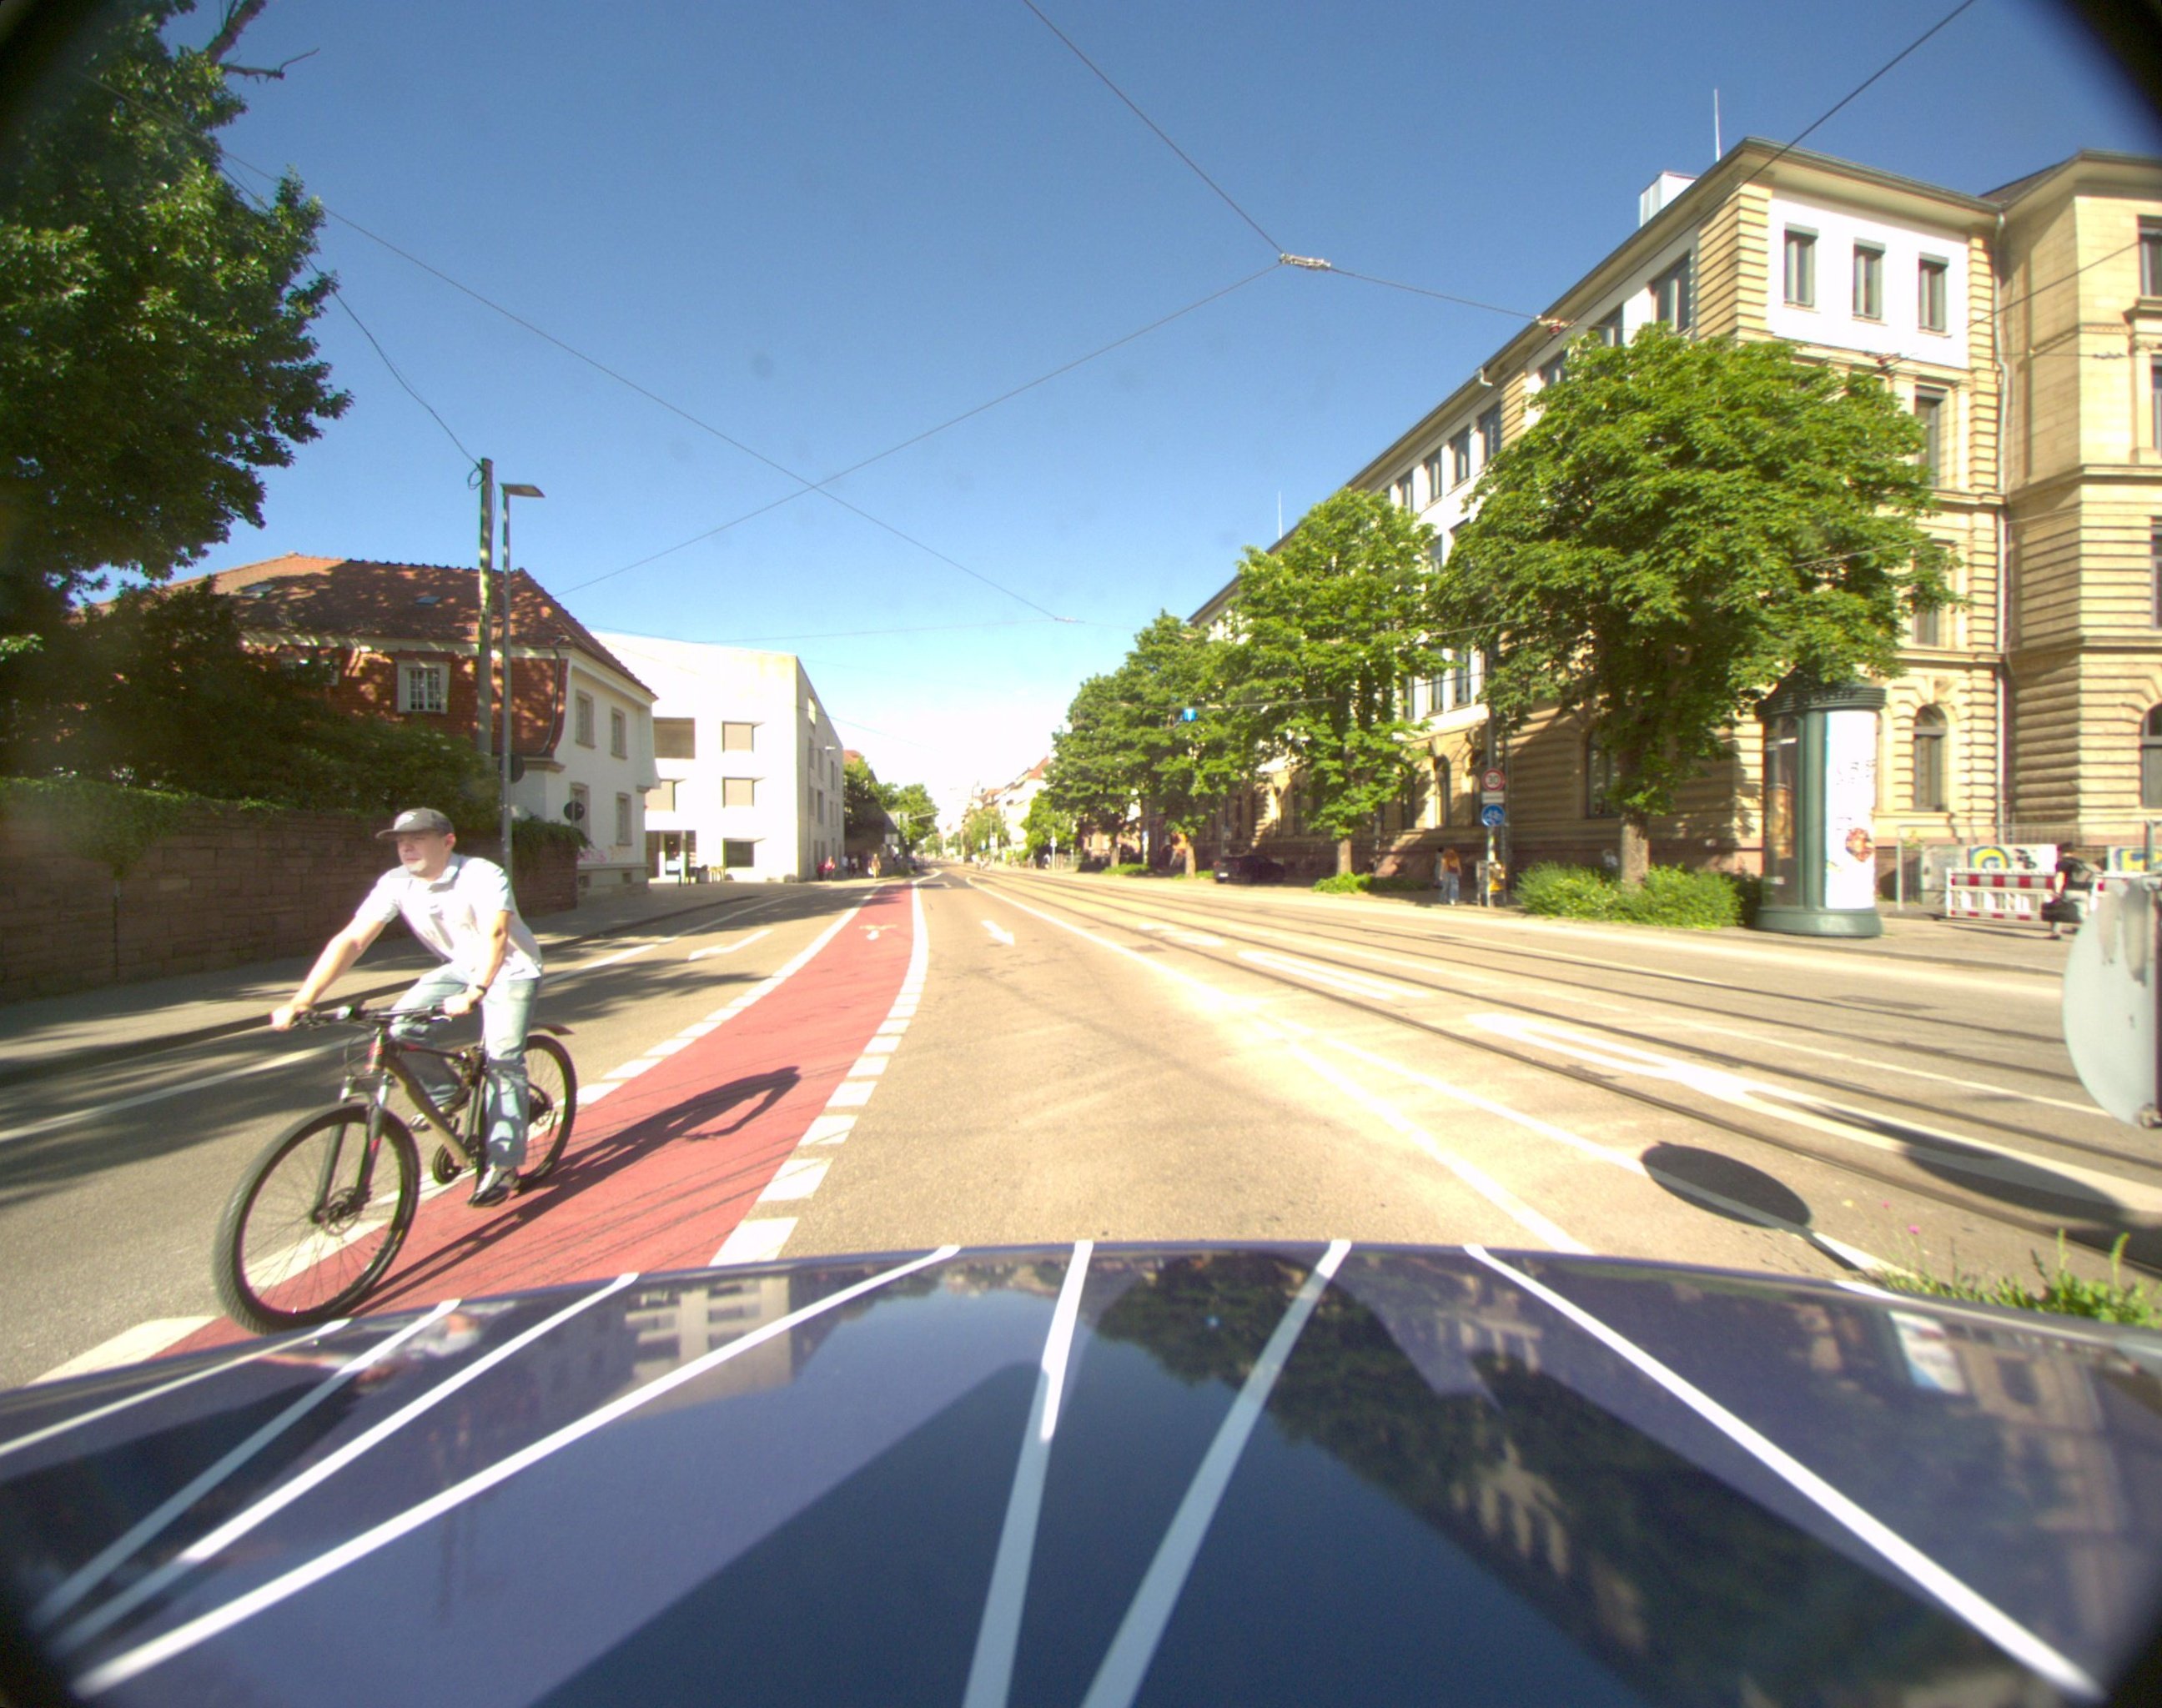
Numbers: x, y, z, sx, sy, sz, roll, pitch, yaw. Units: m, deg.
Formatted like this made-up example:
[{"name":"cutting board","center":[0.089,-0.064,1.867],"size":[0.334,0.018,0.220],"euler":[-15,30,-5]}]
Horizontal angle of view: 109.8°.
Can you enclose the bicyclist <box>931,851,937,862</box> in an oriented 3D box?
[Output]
[{"name":"bicyclist","center":[-19.865,0.374,102.900],"size":[0.665,1.453,0.622],"euler":[-2,2,-8]}]

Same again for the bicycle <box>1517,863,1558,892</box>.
[{"name":"bicycle","center":[15.359,0.778,25.609],"size":[0.398,0.898,1.359],"euler":[-2,2,-10]}]

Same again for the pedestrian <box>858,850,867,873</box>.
[{"name":"pedestrian","center":[-16.757,0.573,58.365],"size":[0.588,1.795,0.545],"euler":[-1,1,-13]}]

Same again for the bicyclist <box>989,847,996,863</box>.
[{"name":"bicyclist","center":[-13.422,0.152,115.161],"size":[1.004,2.255,1.019],"euler":[-2,2,-9]}]

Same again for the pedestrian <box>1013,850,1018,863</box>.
[{"name":"pedestrian","center":[-9.007,0.353,104.476],"size":[0.579,1.845,0.684],"euler":[0,1,-11]}]

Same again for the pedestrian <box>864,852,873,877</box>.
[{"name":"pedestrian","center":[-15.278,0.733,54.540],"size":[0.588,1.795,0.519],"euler":[-1,1,-13]}]

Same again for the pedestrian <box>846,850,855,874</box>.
[{"name":"pedestrian","center":[-17.607,0.600,58.090],"size":[0.588,1.795,0.545],"euler":[-1,1,-13]}]

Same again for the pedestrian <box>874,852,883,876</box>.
[{"name":"pedestrian","center":[-14.591,0.707,54.801],"size":[0.588,1.717,0.519],"euler":[-1,1,-13]}]

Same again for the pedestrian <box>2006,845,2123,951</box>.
[{"name":"pedestrian","center":[16.167,0.701,12.520],"size":[0.729,1.660,0.846],"euler":[0,3,-1]}]

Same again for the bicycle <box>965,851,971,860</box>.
[{"name":"bicycle","center":[-23.377,0.351,157.785],"size":[1.004,1.672,2.981],"euler":[-2,2,-11]}]

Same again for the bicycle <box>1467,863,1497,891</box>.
[{"name":"bicycle","center":[14.430,0.804,27.344],"size":[0.343,0.951,1.101],"euler":[-2,2,-10]}]

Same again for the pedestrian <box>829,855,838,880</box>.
[{"name":"pedestrian","center":[-15.900,0.848,48.824],"size":[0.535,1.557,0.519],"euler":[-1,1,-13]}]

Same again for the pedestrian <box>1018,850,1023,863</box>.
[{"name":"pedestrian","center":[-8.360,0.330,104.646],"size":[0.579,1.845,0.684],"euler":[0,1,-11]}]

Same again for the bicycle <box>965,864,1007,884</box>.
[{"name":"bicycle","center":[-9.369,1.989,74.920],"size":[3.888,1.876,1.004],"euler":[-1,2,10]}]

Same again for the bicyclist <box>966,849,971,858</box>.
[{"name":"bicyclist","center":[-23.392,-0.085,157.764],"size":[1.004,1.712,0.983],"euler":[-2,2,-12]}]

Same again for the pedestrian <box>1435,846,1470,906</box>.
[{"name":"pedestrian","center":[10.611,0.650,21.709],"size":[0.770,1.658,1.036],"euler":[-1,-4,20]}]

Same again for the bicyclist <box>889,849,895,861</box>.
[{"name":"bicyclist","center":[-34.753,0.215,139.590],"size":[0.813,2.194,0.983],"euler":[-2,2,-10]}]

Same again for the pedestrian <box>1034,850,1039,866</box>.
[{"name":"pedestrian","center":[-5.440,0.485,92.899],"size":[0.579,1.845,0.653],"euler":[0,1,-11]}]

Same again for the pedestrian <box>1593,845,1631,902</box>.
[{"name":"pedestrian","center":[14.847,0.540,21.259],"size":[0.579,1.553,0.653],"euler":[0,1,-12]}]

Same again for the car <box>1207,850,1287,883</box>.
[{"name":"car","center":[8.639,0.612,39.398],"size":[4.118,1.565,1.916],"euler":[-1,1,-39]}]

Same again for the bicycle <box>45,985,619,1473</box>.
[{"name":"bicycle","center":[-2.722,1.246,3.124],"size":[0.612,1.071,1.829],"euler":[-1,0,-4]}]

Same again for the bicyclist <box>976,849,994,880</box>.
[{"name":"bicyclist","center":[-9.459,1.064,74.907],"size":[1.472,2.959,1.004],"euler":[-1,2,10]}]

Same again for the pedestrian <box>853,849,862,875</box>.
[{"name":"pedestrian","center":[-16.010,0.578,54.435],"size":[0.588,1.795,0.545],"euler":[-1,1,-13]}]

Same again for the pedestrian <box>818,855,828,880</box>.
[{"name":"pedestrian","center":[-16.524,0.864,48.708],"size":[0.535,1.557,0.519],"euler":[-1,1,-13]}]

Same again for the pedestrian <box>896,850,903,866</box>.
[{"name":"pedestrian","center":[-19.839,0.439,82.902],"size":[0.679,1.728,0.931],"euler":[0,1,-10]}]

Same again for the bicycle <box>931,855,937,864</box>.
[{"name":"bicycle","center":[-19.859,0.696,102.930],"size":[0.665,1.146,1.670],"euler":[-2,2,-8]}]

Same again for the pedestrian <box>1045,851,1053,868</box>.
[{"name":"pedestrian","center":[-3.427,0.580,81.281],"size":[0.729,1.845,0.653],"euler":[0,1,-9]}]

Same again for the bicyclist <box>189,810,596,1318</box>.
[{"name":"bicyclist","center":[-2.736,0.732,3.182],"size":[0.752,1.765,1.013],"euler":[-1,1,-4]}]

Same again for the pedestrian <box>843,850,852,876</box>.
[{"name":"pedestrian","center":[-16.678,0.639,54.314],"size":[0.588,1.795,0.545],"euler":[-1,1,-13]}]

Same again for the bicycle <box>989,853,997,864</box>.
[{"name":"bicycle","center":[-13.406,0.668,115.195],"size":[1.004,1.672,2.981],"euler":[-2,2,-9]}]

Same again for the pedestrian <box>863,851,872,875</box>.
[{"name":"pedestrian","center":[-16.014,0.676,56.876],"size":[0.588,1.795,0.582],"euler":[-1,1,-13]}]

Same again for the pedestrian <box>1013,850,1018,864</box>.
[{"name":"pedestrian","center":[-8.802,0.407,101.935],"size":[0.579,1.845,0.684],"euler":[0,1,-11]}]

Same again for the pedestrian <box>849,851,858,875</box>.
[{"name":"pedestrian","center":[-16.887,0.660,56.441],"size":[0.588,1.795,0.582],"euler":[-1,1,-13]}]

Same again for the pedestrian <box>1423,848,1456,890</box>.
[{"name":"pedestrian","center":[13.801,0.562,29.258],"size":[0.858,1.558,0.672],"euler":[-4,2,-7]}]
